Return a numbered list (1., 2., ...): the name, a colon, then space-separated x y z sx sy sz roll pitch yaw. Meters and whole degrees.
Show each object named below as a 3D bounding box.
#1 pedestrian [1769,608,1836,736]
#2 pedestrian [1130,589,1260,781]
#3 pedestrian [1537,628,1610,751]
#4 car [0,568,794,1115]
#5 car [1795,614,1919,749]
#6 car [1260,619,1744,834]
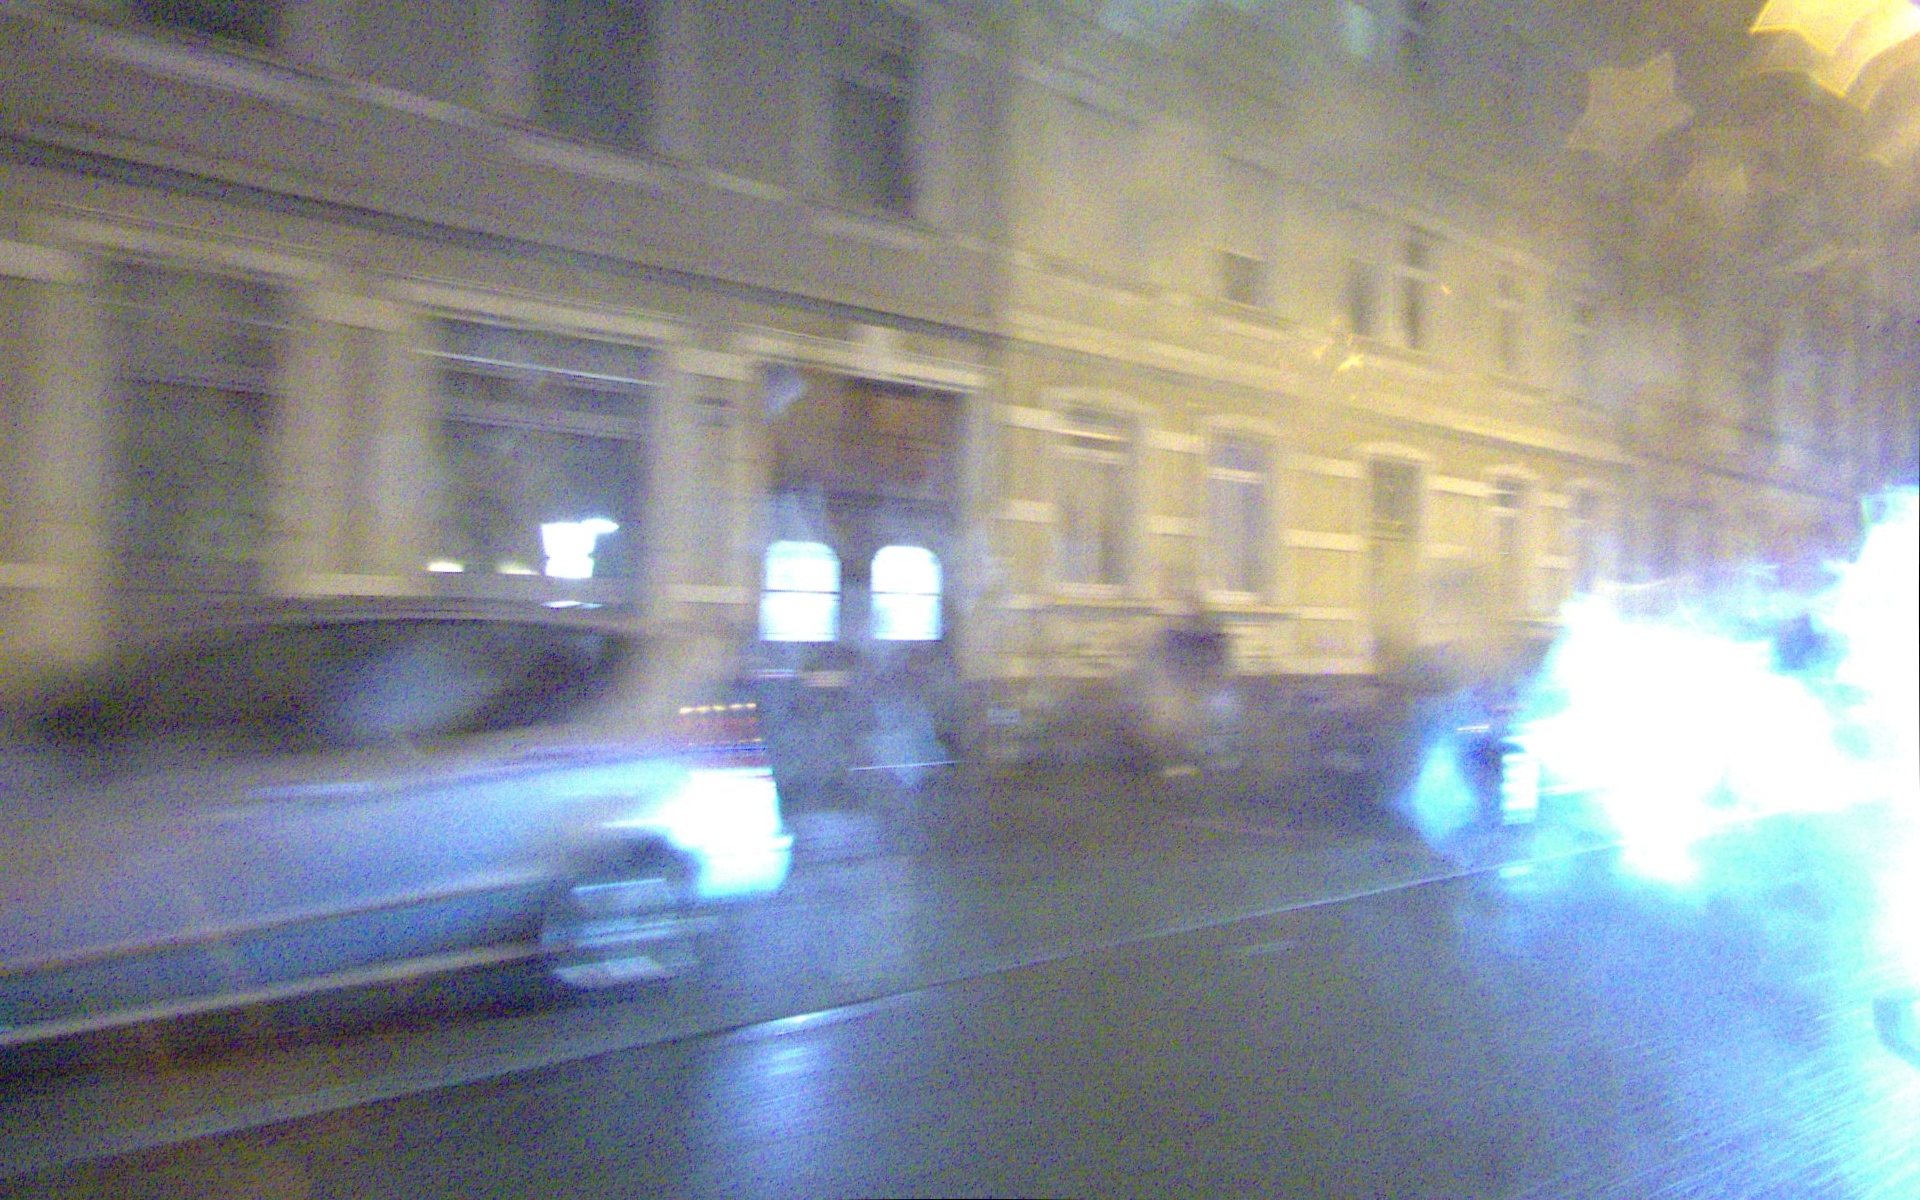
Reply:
1. pedestrian: 13.703 1.143 16.346 0.764 2.000 0.650 2 0 -40
2. pedestrian: 2.371 0.826 10.156 0.974 1.828 0.740 2 0 -28
3. pedestrian: 8.321 1.183 13.618 0.649 1.573 0.758 3 0 44
4. car: -2.744 0.741 4.033 3.723 1.609 1.736 2 -2 -32
5. car: 14.053 1.115 14.440 4.543 1.739 1.823 2 -2 -32
6. car: 4.978 0.964 9.034 4.543 1.506 1.823 2 -2 -32
